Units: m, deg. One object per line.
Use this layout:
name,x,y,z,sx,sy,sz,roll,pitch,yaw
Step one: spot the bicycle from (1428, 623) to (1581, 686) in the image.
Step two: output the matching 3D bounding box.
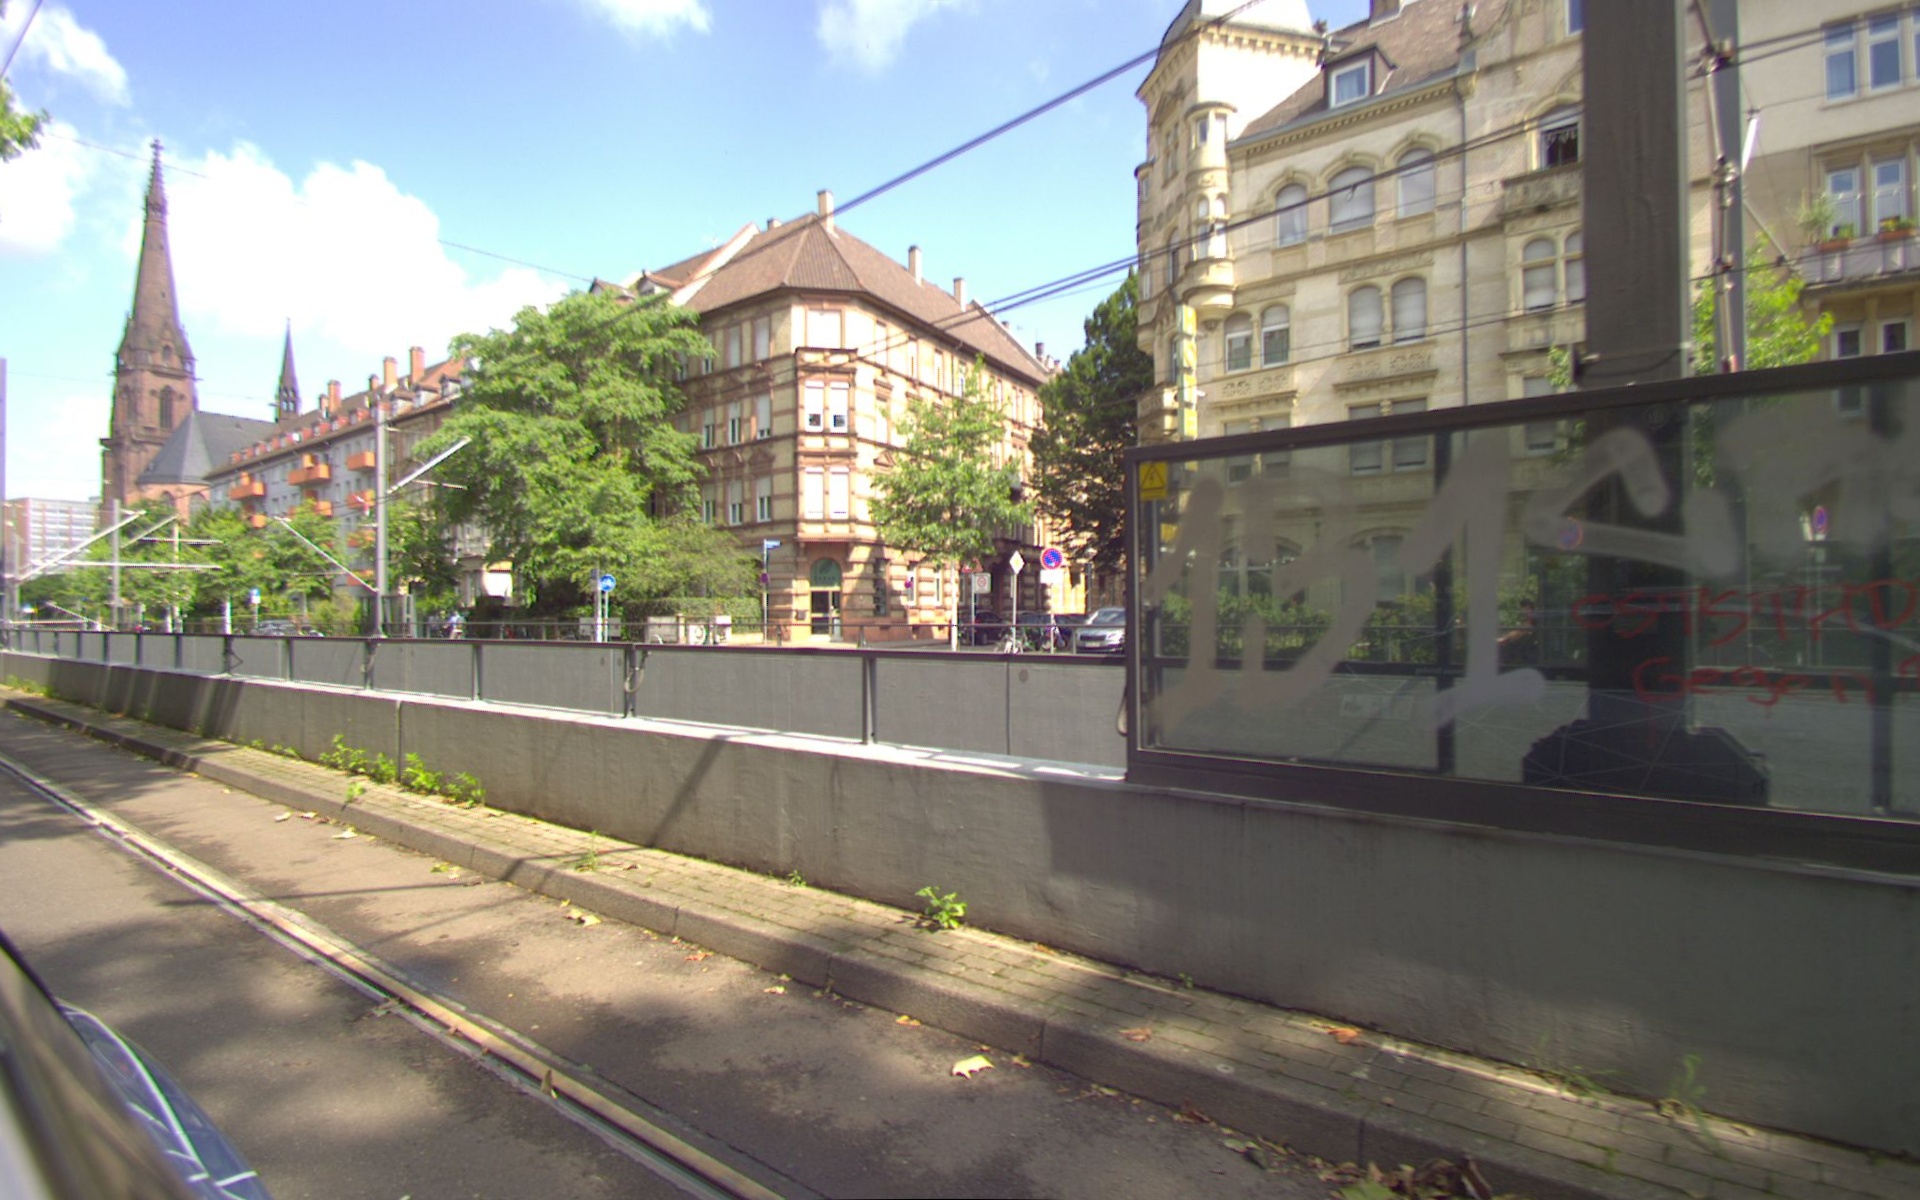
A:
bicycle,9.037,0.886,16.861,2.139,0.986,0.768,-1,-3,41

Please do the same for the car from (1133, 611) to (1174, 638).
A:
car,14.494,1.828,75.596,1.919,1.956,3.961,-1,-1,29

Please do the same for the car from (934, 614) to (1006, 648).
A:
car,0.532,1.481,48.641,1.916,1.547,3.964,0,-1,26

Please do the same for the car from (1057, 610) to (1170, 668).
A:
car,4.672,1.114,30.387,2.029,1.618,3.921,-1,-1,31

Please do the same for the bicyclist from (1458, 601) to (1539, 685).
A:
bicyclist,8.991,0.722,16.917,1.048,1.348,0.760,-2,-3,41

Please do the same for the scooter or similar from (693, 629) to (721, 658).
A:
scooter or similar,-10.005,1.717,40.038,1.287,1.090,0.373,-2,1,40

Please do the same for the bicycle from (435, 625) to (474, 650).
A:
bicycle,-20.485,1.517,40.987,1.897,1.003,0.718,-2,-3,40

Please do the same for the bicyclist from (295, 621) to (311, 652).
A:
bicyclist,-33.944,1.879,52.301,0.606,1.556,0.498,-1,-3,39

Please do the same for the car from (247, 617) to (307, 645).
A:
car,-41.731,1.897,61.784,4.110,1.650,1.973,-2,-2,40

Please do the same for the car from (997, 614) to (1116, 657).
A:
car,3.610,1.303,37.984,4.118,1.532,1.668,-1,-1,28

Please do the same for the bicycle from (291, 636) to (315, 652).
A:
bicycle,-33.939,2.276,52.286,1.815,0.774,0.491,-1,-3,40

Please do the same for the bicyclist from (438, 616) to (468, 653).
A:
bicyclist,-20.489,1.386,40.927,0.977,1.490,0.731,-2,-3,39

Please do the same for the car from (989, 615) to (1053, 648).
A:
car,3.306,1.644,53.853,1.919,1.687,3.961,-1,-1,29

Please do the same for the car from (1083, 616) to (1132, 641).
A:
car,9.733,1.852,66.534,1.919,1.630,3.961,-1,-1,29

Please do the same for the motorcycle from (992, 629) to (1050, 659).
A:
motorcycle,2.130,1.536,35.530,1.991,1.002,0.518,-1,-1,28
